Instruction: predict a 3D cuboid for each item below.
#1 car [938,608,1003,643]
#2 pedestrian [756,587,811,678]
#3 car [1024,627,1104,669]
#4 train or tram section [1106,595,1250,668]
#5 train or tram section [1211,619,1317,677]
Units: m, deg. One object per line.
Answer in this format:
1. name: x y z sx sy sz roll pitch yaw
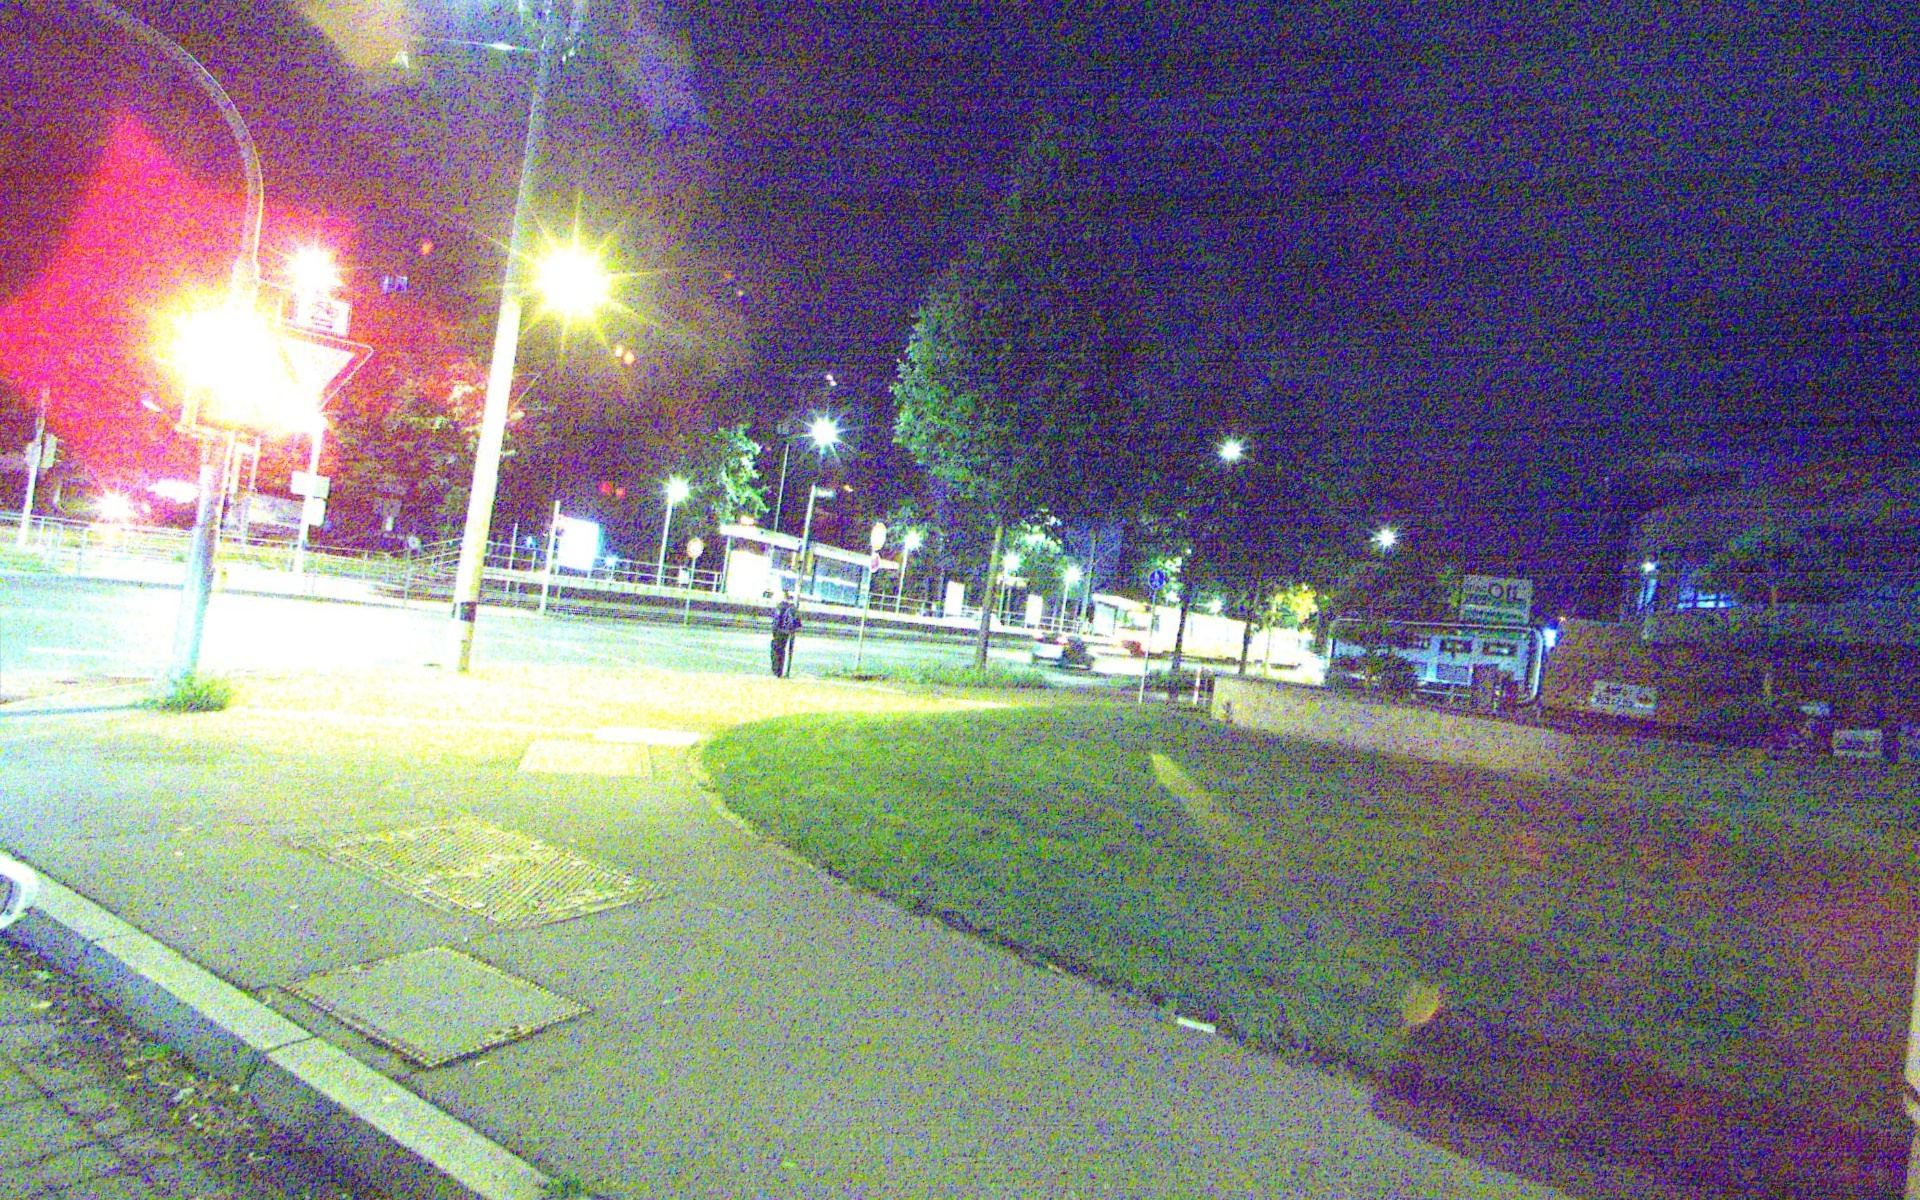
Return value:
1. car: 0.747 1.719 67.407 1.814 1.866 4.783 5 -2 35
2. pedestrian: -3.421 0.620 19.463 0.867 1.677 0.835 2 1 -18
3. car: 4.449 2.053 42.608 1.617 1.438 3.687 7 0 35
4. train or tram section: 16.340 2.534 73.174 2.918 3.896 18.427 8 0 35
5. train or tram section: 27.140 4.424 88.512 2.919 3.894 18.866 5 -2 35
